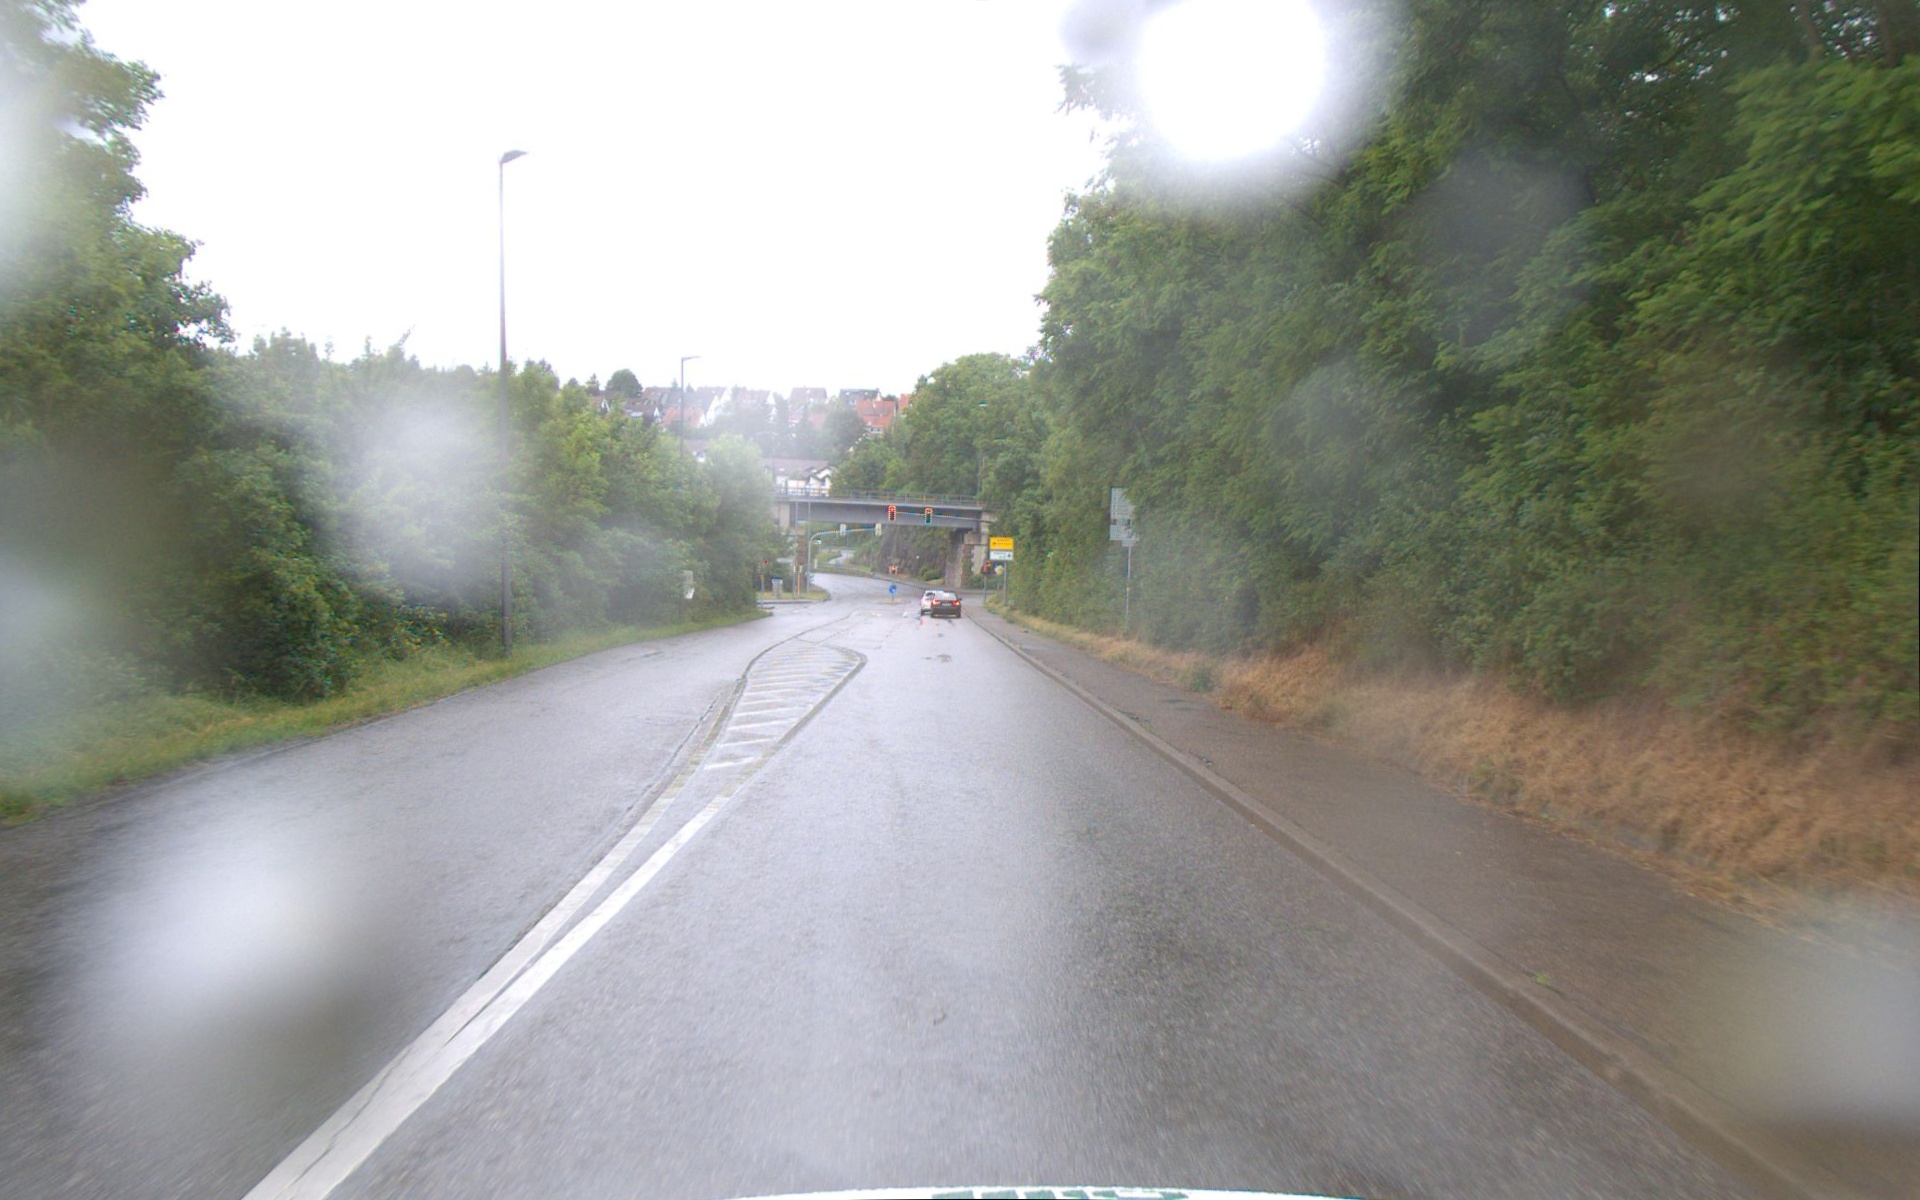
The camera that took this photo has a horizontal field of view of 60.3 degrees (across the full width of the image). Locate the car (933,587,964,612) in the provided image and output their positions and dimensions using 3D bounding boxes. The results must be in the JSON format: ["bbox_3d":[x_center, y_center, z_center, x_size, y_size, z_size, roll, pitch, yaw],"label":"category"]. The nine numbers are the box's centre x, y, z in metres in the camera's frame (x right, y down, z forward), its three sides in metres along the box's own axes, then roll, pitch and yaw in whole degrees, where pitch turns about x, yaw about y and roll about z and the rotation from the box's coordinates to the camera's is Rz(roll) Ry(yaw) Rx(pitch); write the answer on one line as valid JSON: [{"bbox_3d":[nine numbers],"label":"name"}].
[{"bbox_3d":[-0.652,-0.053,95.818,1.732,1.404,4.000,0,0,0],"label":"car"}]

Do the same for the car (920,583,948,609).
[{"bbox_3d":[-1.596,-0.265,102.453,1.732,1.590,4.000,0,0,0],"label":"car"}]
